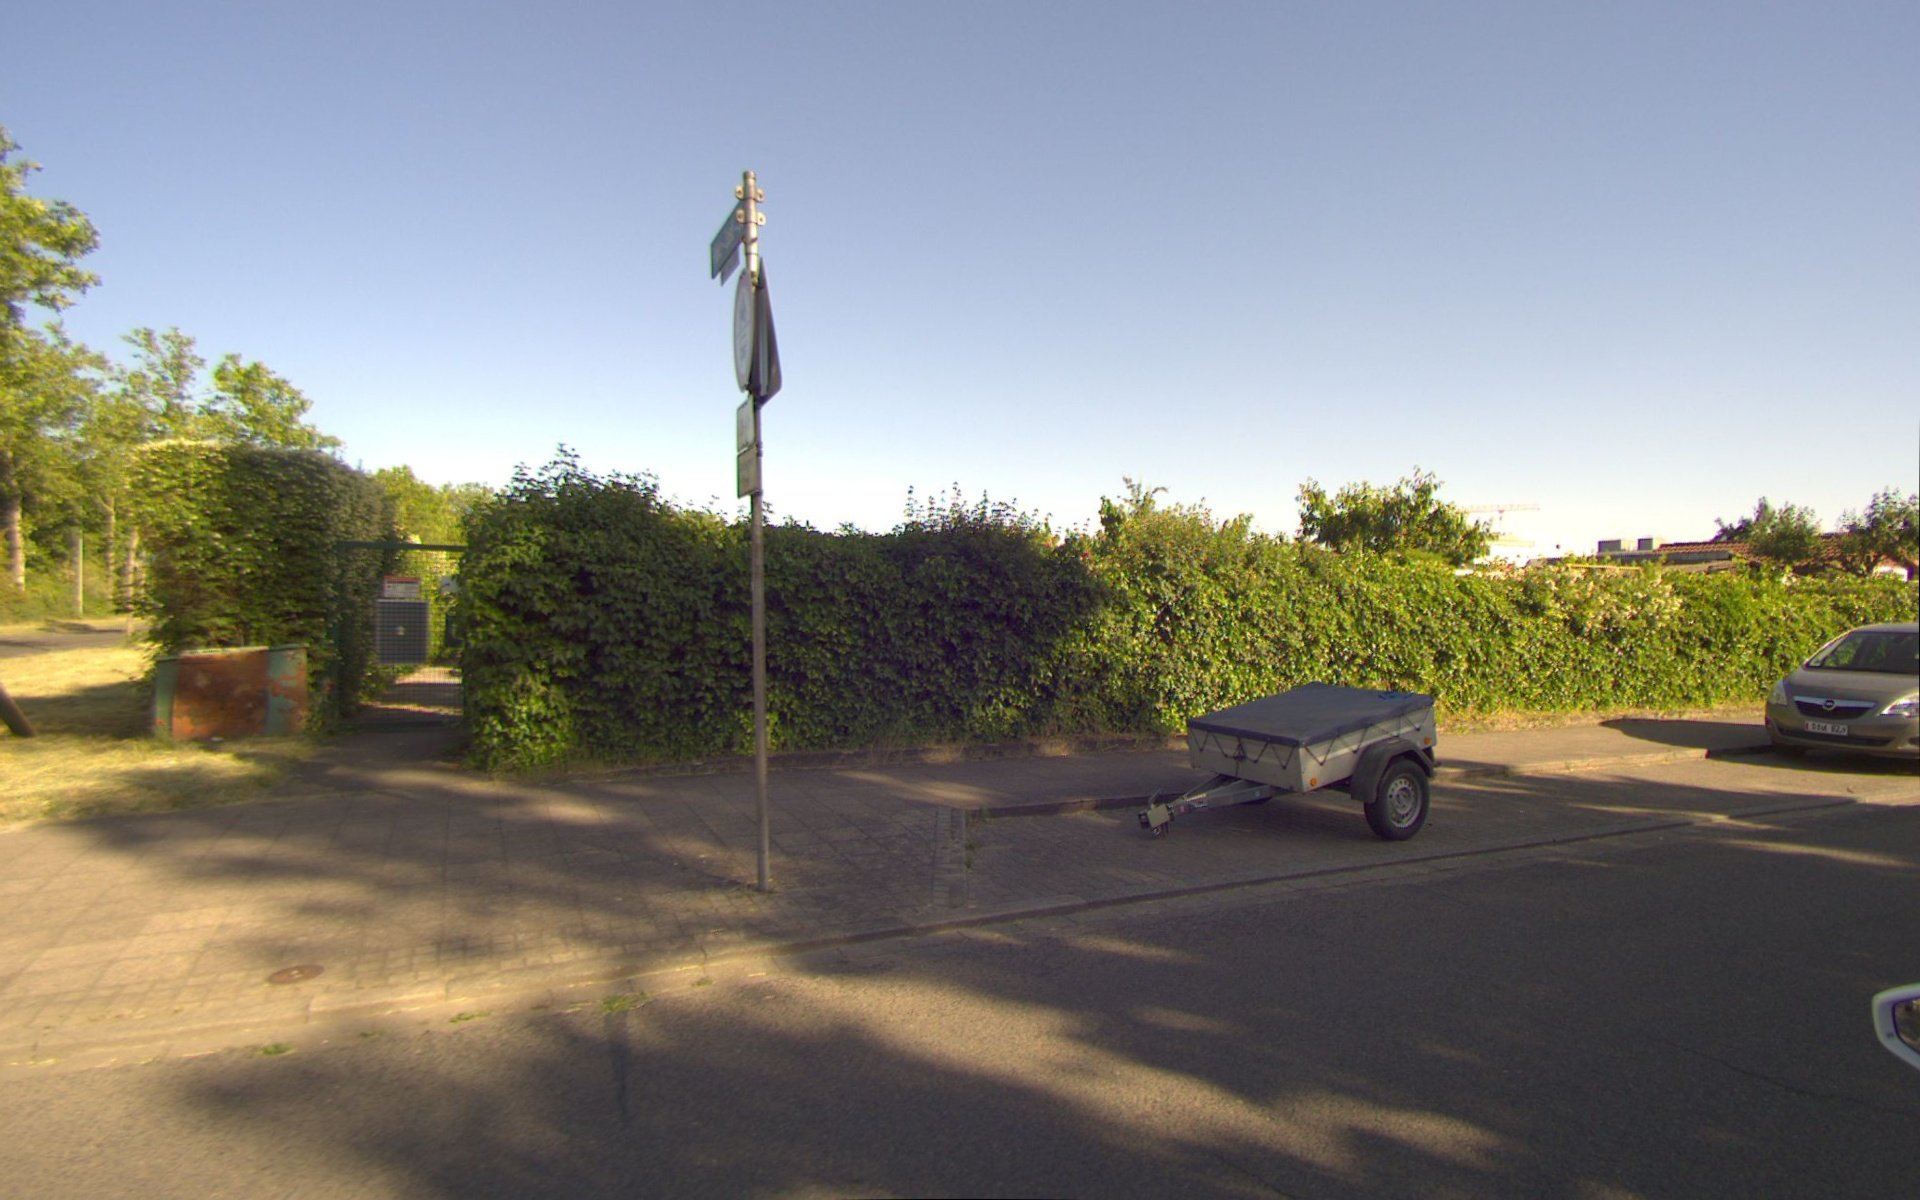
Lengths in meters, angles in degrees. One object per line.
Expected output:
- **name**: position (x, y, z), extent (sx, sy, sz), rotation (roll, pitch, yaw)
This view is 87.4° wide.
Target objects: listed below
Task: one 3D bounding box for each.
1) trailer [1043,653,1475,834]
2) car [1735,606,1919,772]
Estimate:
- **trailer**: position (2.127, 0.941, 7.275), extent (2.610, 0.966, 1.540), rotation (2, 1, -24)
- **car**: position (11.240, 0.956, 11.736), extent (4.252, 1.621, 1.638), rotation (2, 1, -25)
